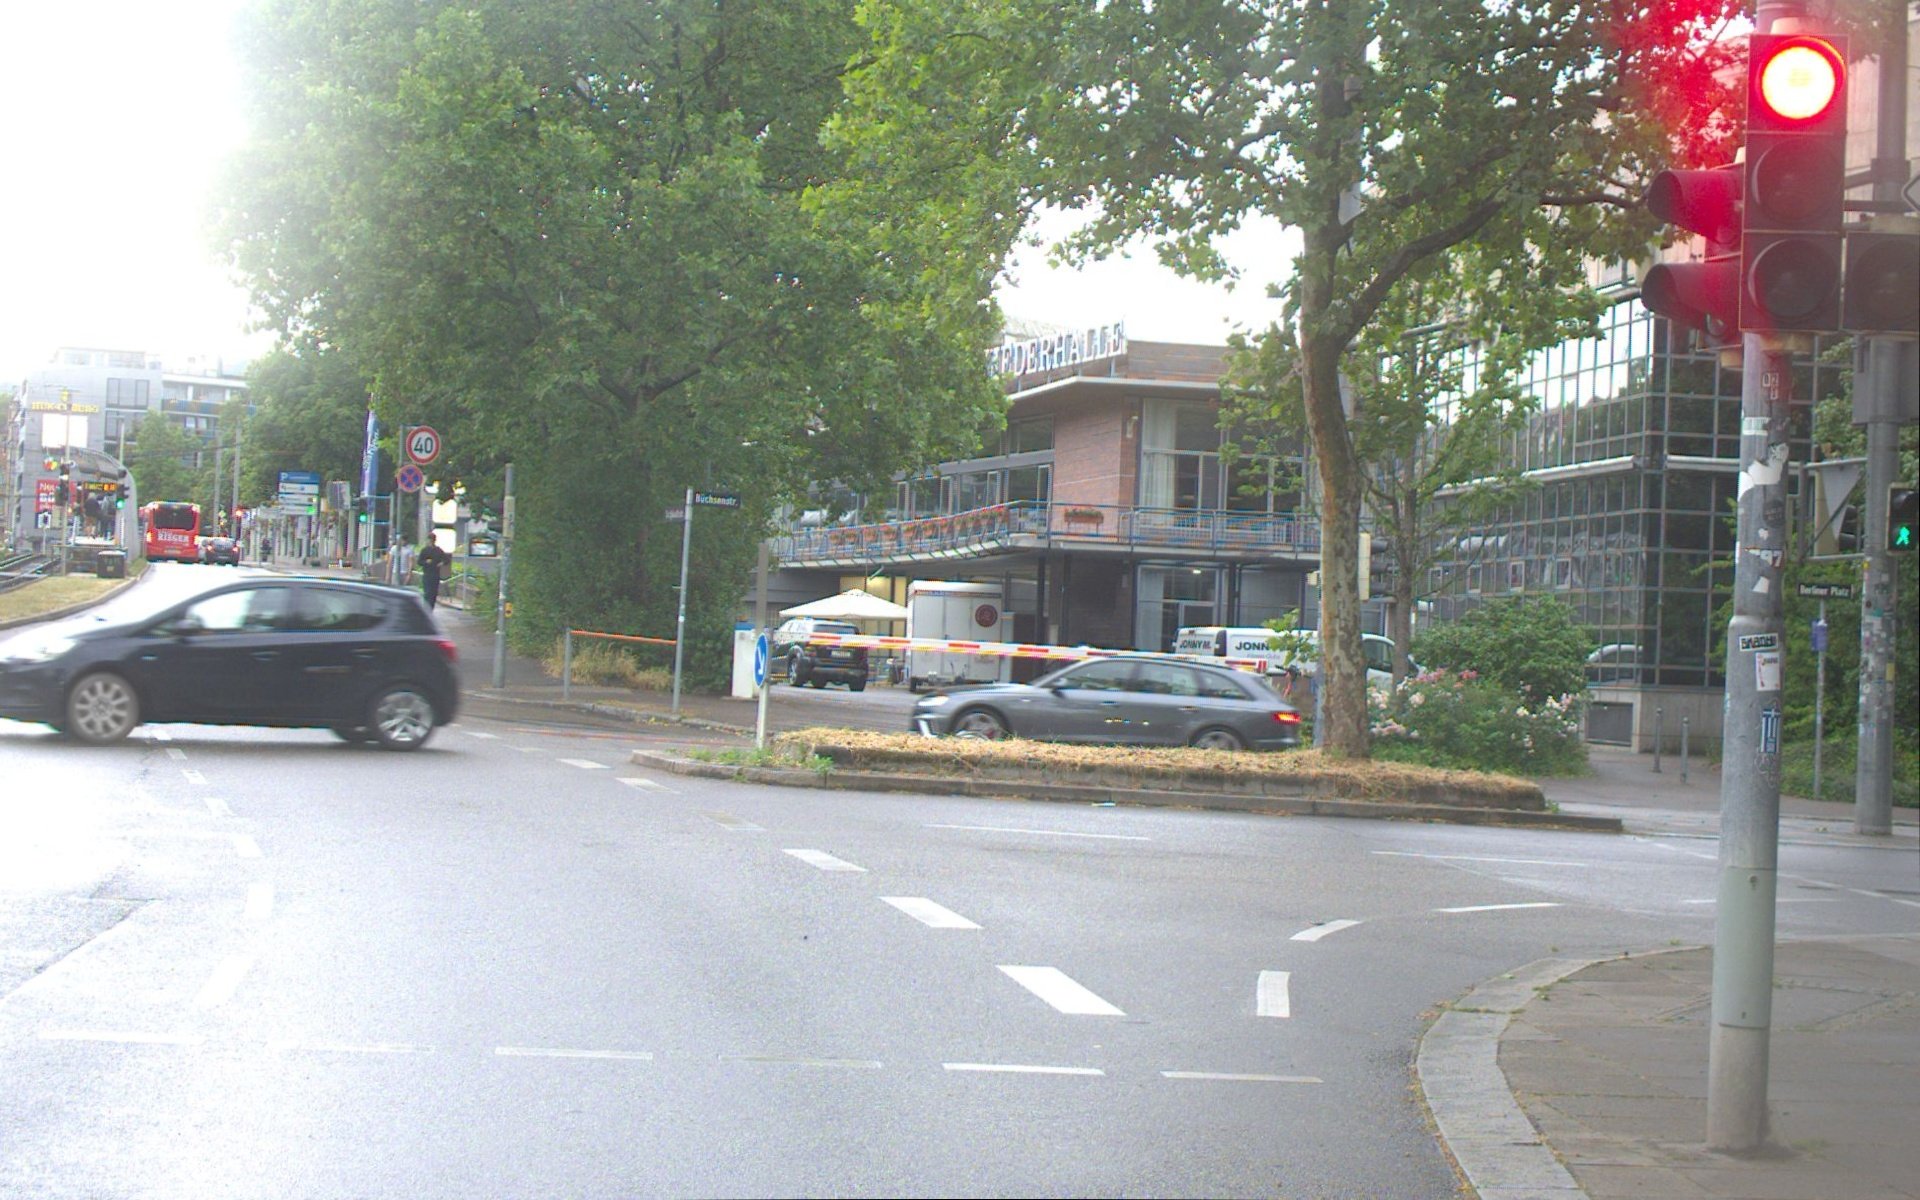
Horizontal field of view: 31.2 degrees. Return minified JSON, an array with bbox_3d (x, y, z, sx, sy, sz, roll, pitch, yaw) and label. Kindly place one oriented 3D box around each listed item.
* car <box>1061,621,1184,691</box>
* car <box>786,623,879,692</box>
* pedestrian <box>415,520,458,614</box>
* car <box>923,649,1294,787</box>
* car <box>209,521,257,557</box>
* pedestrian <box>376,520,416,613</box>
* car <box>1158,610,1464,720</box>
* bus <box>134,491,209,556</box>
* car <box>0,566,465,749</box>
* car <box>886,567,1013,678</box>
[{"bbox_3d":[4.187,1.434,89.159,2.019,1.546,4.351,3,1,-13],"label":"car"},{"bbox_3d":[-3.233,1.454,87.961,2.019,1.546,4.350,3,1,2],"label":"car"},{"bbox_3d":[-11.359,-0.714,74.586,0.874,2.007,1.077,1,0,-8],"label":"pedestrian"},{"bbox_3d":[1.734,1.396,41.304,4.336,1.514,2.000,1,1,0],"label":"car"},{"bbox_3d":[-38.395,-3.214,181.411,2.362,1.810,5.185,1,1,-13],"label":"car"},{"bbox_3d":[-12.216,-0.725,74.459,0.814,2.007,1.077,1,0,-8],"label":"pedestrian"},{"bbox_3d":[6.367,1.177,62.218,5.198,1.725,1.875,3,1,-25],"label":"car"},{"bbox_3d":[-40.487,-3.868,176.428,3.589,3.160,10.423,1,1,-13],"label":"bus"},{"bbox_3d":[-6.336,0.486,29.275,3.858,1.352,1.633,3,1,-23],"label":"car"},{"bbox_3d":[-0.336,0.540,91.405,2.731,2.686,6.923,3,1,-5],"label":"car"}]
